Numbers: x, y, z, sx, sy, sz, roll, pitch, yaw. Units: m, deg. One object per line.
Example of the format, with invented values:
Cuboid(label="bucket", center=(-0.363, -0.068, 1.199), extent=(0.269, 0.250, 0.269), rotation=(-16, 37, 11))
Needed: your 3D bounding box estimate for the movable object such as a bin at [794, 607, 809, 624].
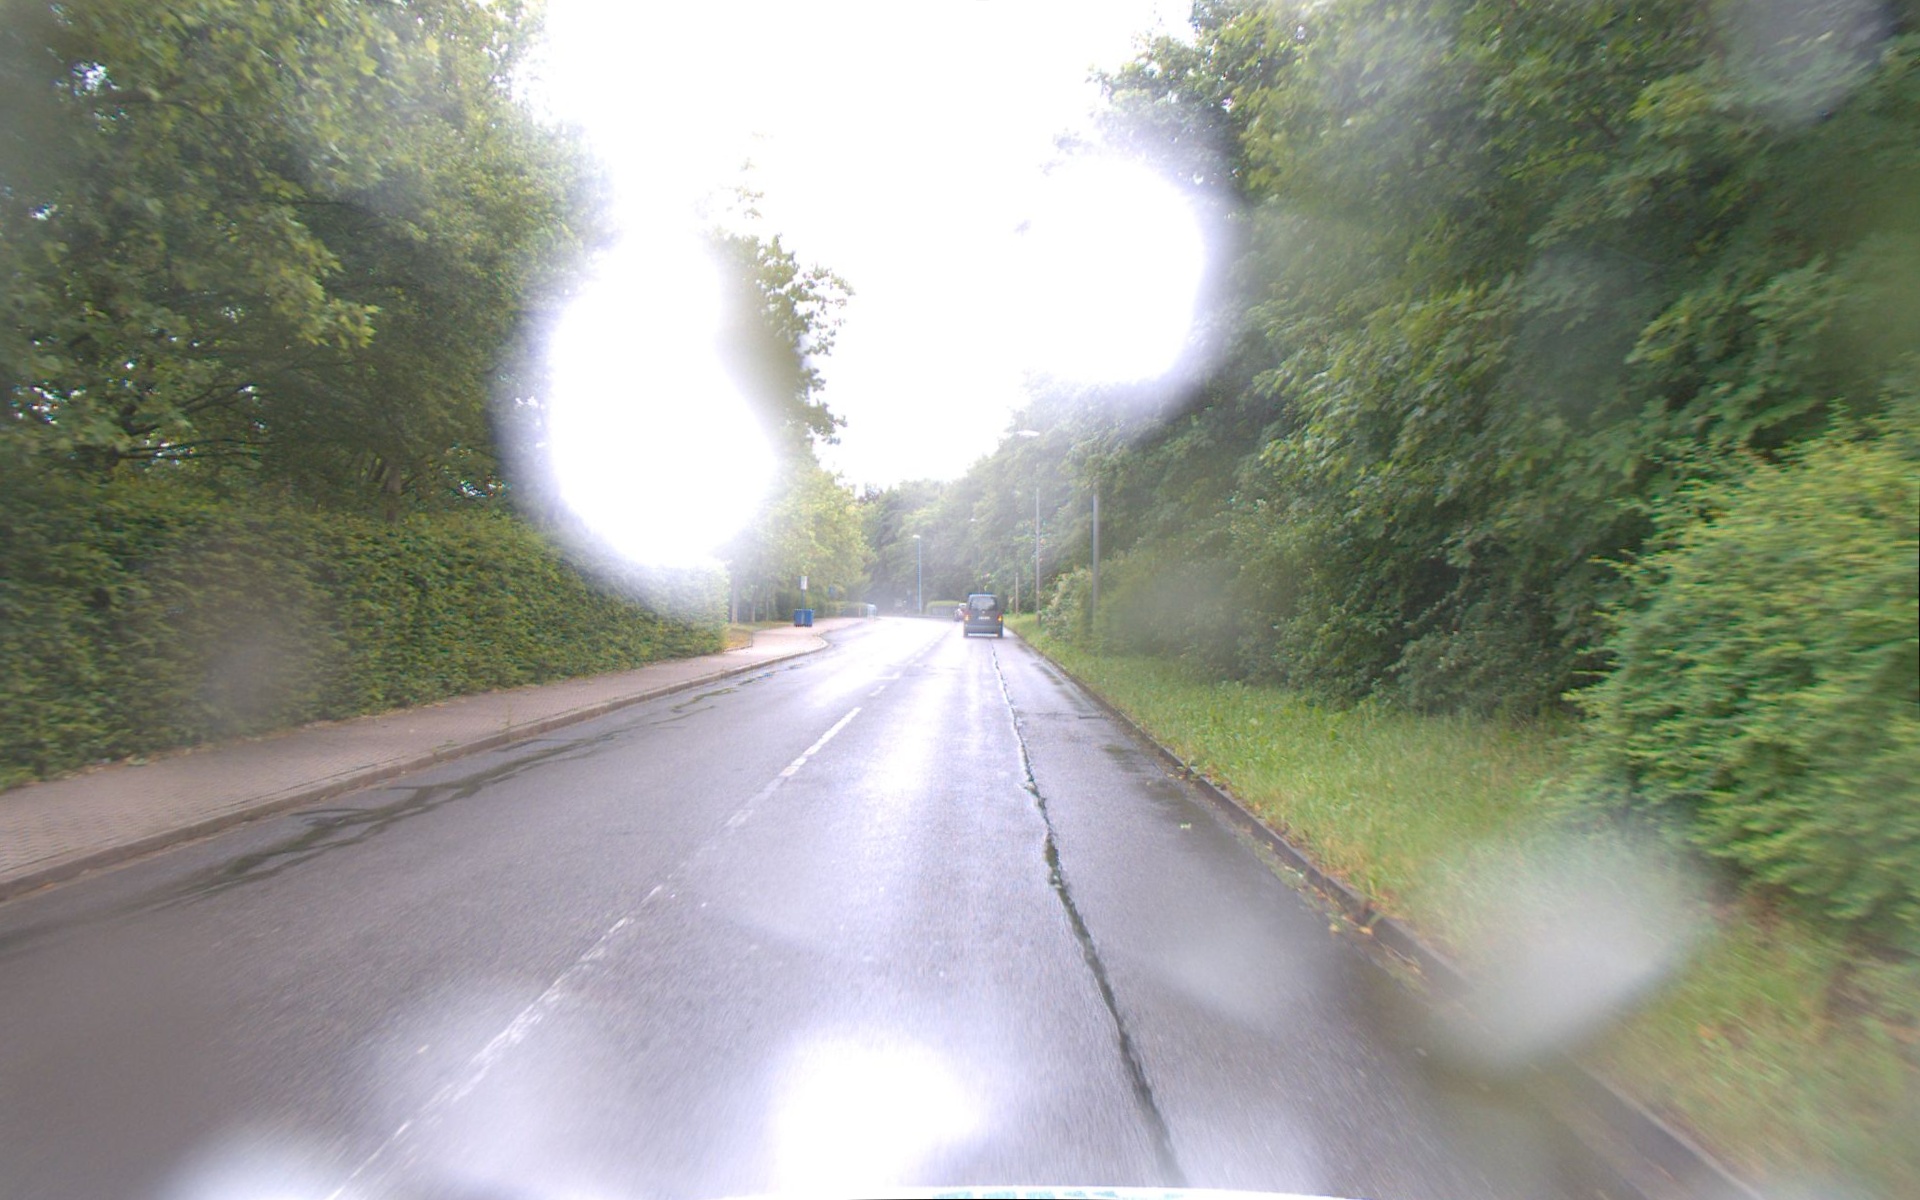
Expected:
Cuboid(label="movable object such as a bin", center=(-10.056, 0.979, 104.871), extent=(0.659, 1.044, 0.826), rotation=(-2, 0, -31))

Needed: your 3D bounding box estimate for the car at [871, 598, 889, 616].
Cuboid(label="car", center=(-9.690, 0.821, 200.880), extent=(1.953, 2.049, 3.999), rotation=(2, 0, -1))

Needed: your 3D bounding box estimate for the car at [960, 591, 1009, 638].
Cuboid(label="car", center=(1.047, 0.625, 72.294), extent=(1.953, 1.825, 4.000), rotation=(3, 1, 0))

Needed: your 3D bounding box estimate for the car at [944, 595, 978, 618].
Cuboid(label="car", center=(0.065, 0.514, 136.568), extent=(1.960, 1.803, 3.985), rotation=(-1, 0, -14))
